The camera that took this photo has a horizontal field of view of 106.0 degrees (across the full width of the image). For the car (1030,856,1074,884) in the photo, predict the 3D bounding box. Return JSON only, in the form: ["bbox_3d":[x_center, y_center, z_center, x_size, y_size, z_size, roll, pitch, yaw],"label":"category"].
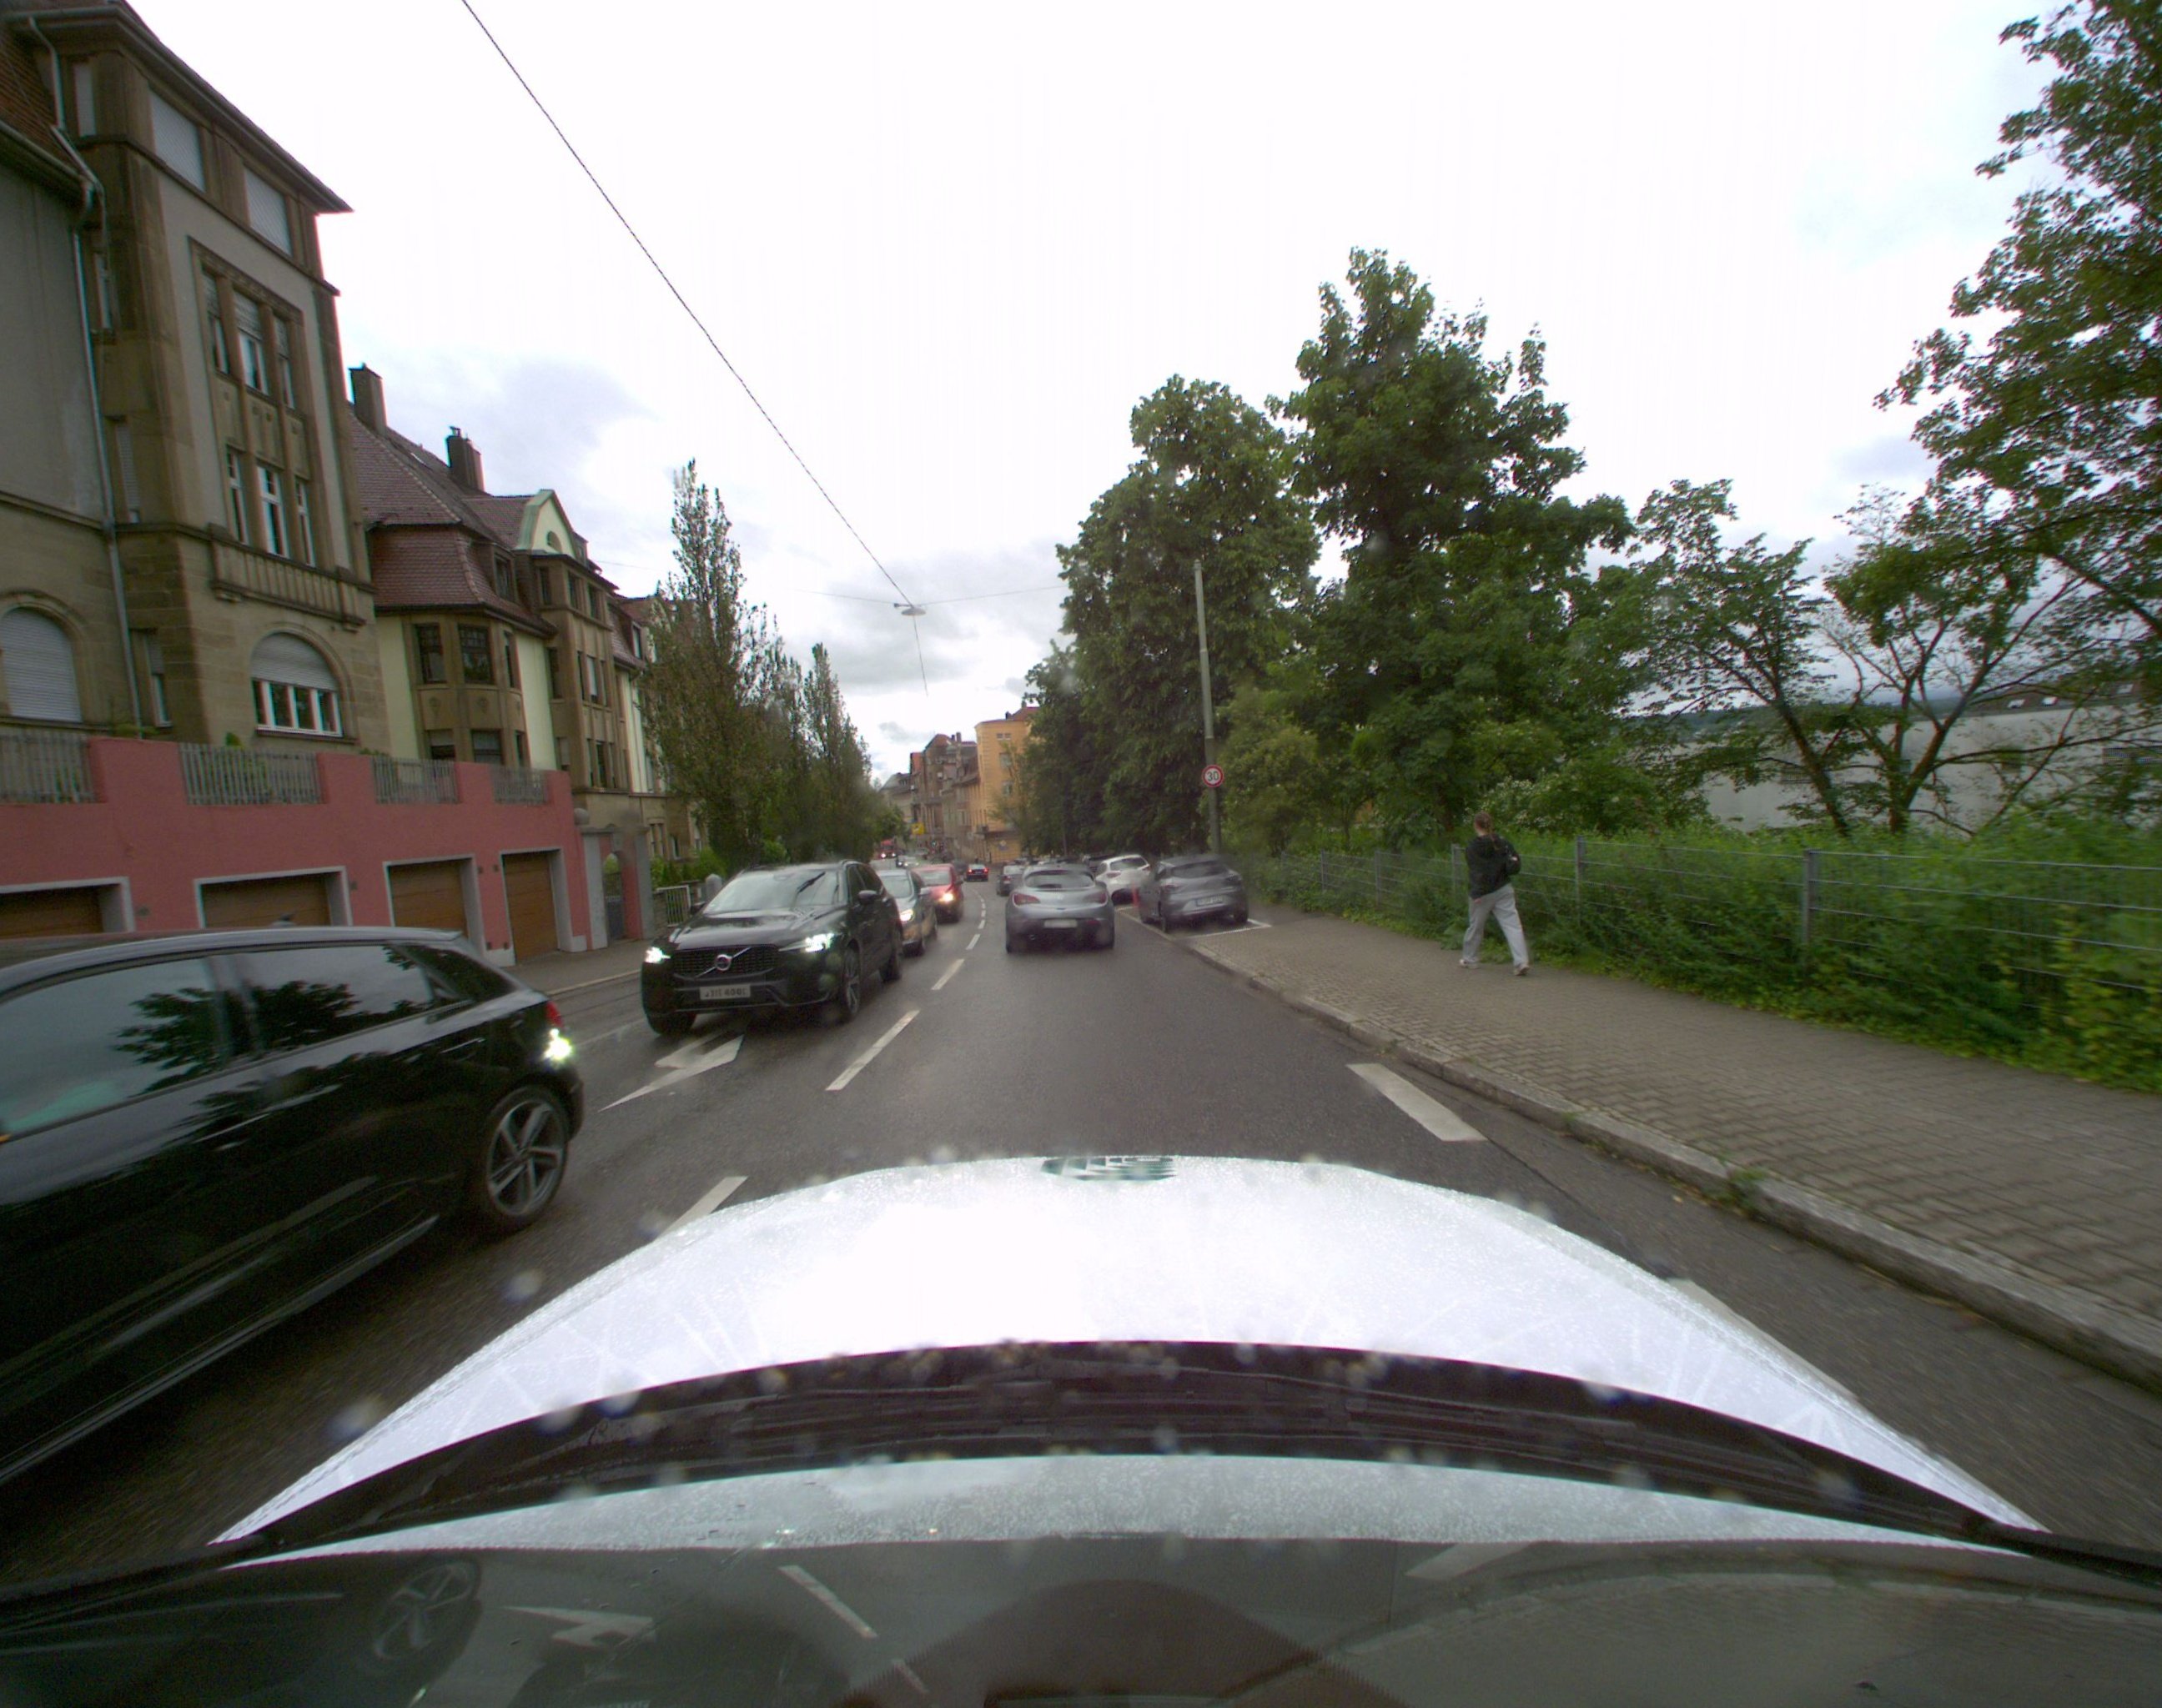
[{"bbox_3d":[-1.791,0.979,49.059,1.977,1.452,4.098,-6,0,-11],"label":"car"}]

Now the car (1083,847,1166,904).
[{"bbox_3d":[1.387,0.726,27.420,1.815,1.494,3.987,-9,0,-9],"label":"car"}]

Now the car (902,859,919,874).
[{"bbox_3d":[-21.192,1.514,101.456,1.824,1.650,3.985,-5,0,-11],"label":"car"}]

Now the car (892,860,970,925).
[{"bbox_3d":[-4.118,0.995,22.892,1.652,1.568,3.994,-3,0,-4],"label":"car"}]

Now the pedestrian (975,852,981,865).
[{"bbox_3d":[-12.845,0.574,101.282,0.613,1.496,0.550,-4,2,-12],"label":"pedestrian"}]

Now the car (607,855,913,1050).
[{"bbox_3d":[-3.260,0.861,9.383,1.871,1.574,4.580,-3,0,-4],"label":"car"}]

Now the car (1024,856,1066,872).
[{"bbox_3d":[-3.441,0.964,78.164,3.780,1.430,1.772,0,-2,-16],"label":"car"}]

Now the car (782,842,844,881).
[{"bbox_3d":[-12.212,0.346,37.339,1.813,1.612,3.991,-2,-1,-6],"label":"car"}]

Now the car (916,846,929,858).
[{"bbox_3d":[-26.188,-0.284,134.400,1.785,1.855,3.980,-3,-1,-14],"label":"car"}]

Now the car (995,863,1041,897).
[{"bbox_3d":[-2.995,1.211,38.292,1.776,1.430,3.772,-3,-1,-10],"label":"car"}]

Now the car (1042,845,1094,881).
[{"bbox_3d":[-0.780,0.488,43.306,1.976,1.609,4.469,-6,0,-10],"label":"car"}]

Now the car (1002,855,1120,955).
[{"bbox_3d":[-0.501,0.814,15.020,1.812,1.429,3.993,-3,1,-6],"label":"car"}]

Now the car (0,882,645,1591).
[{"bbox_3d":[-3.269,0.927,2.367,1.810,1.429,3.998,-4,0,-1],"label":"car"}]

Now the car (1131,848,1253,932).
[{"bbox_3d":[2.230,0.698,17.316,1.647,1.404,3.806,-7,0,-5],"label":"car"}]

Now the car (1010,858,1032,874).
[{"bbox_3d":[-6.261,1.264,84.990,1.769,1.429,3.788,-2,1,2],"label":"car"}]

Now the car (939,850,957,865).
[{"bbox_3d":[-19.143,0.512,117.300,1.997,1.688,3.981,-9,1,-13],"label":"car"}]

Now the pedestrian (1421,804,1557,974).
[{"bbox_3d":[4.230,0.343,8.519,0.764,1.605,0.964,-6,0,-3],"label":"pedestrian"}]

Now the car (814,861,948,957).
[{"bbox_3d":[-3.602,0.913,15.437,1.771,1.497,4.255,-2,-1,-5],"label":"car"}]

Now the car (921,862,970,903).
[{"bbox_3d":[-6.156,1.260,37.462,1.844,1.583,4.269,-5,0,-6],"label":"car"}]

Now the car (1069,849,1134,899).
[{"bbox_3d":[0.743,0.763,33.108,1.820,1.683,4.792,-6,0,-7],"label":"car"}]

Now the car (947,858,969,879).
[{"bbox_3d":[-12.290,1.441,81.220,1.643,1.688,3.699,-4,4,-15],"label":"car"}]

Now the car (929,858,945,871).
[{"bbox_3d":[-17.873,1.335,101.044,1.643,1.536,3.698,-4,0,-15],"label":"car"}]

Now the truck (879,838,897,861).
[{"bbox_3d":[-38.812,-0.962,163.687,2.795,4.131,10.793,-4,2,-16],"label":"truck"}]

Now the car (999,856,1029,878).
[{"bbox_3d":[-5.615,1.106,68.086,1.817,1.467,3.982,-8,0,-12],"label":"car"}]

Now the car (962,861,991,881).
[{"bbox_3d":[-8.447,1.355,65.626,1.770,1.415,3.698,-2,0,-14],"label":"car"}]

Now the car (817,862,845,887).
[{"bbox_3d":[-19.436,1.585,63.367,1.792,1.651,4.174,-7,1,-15],"label":"car"}]
